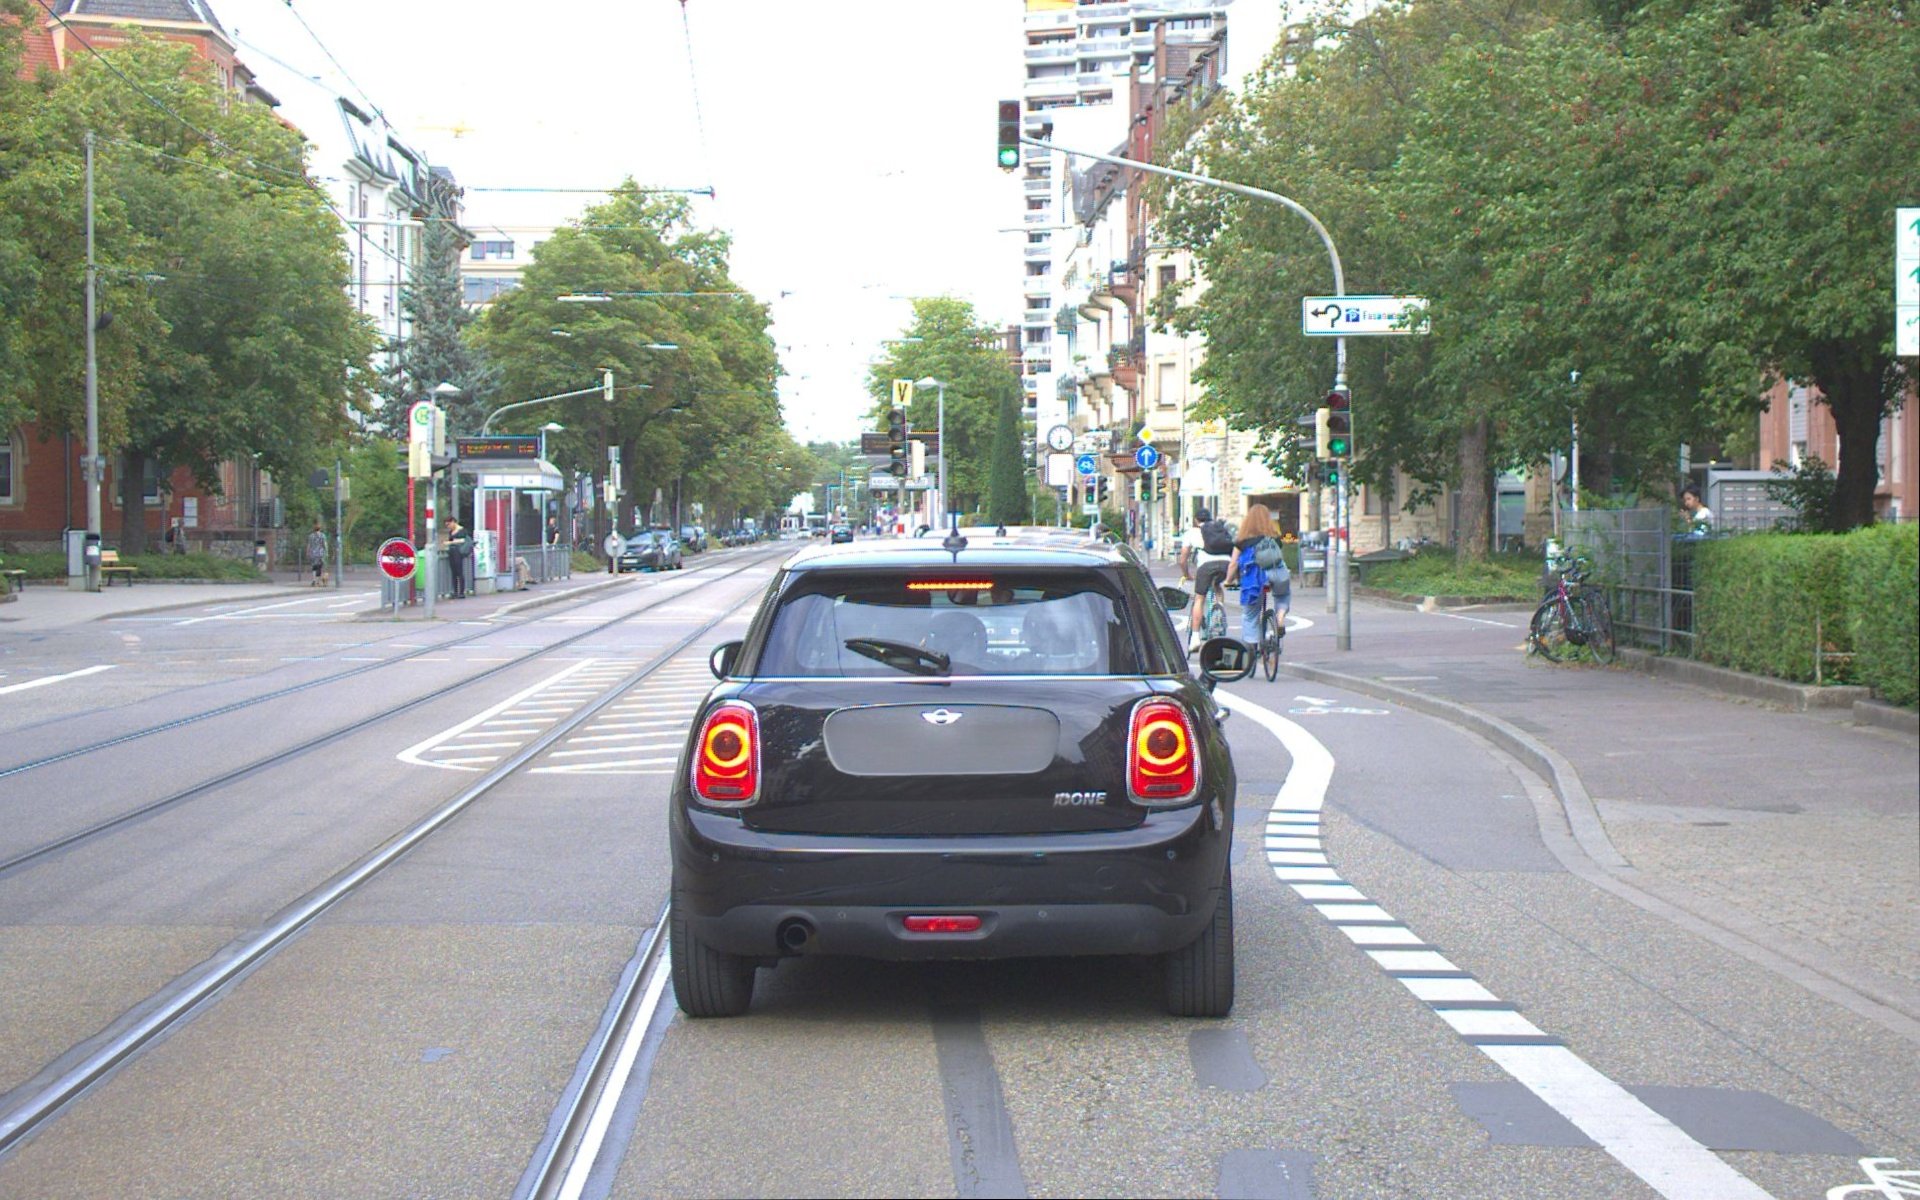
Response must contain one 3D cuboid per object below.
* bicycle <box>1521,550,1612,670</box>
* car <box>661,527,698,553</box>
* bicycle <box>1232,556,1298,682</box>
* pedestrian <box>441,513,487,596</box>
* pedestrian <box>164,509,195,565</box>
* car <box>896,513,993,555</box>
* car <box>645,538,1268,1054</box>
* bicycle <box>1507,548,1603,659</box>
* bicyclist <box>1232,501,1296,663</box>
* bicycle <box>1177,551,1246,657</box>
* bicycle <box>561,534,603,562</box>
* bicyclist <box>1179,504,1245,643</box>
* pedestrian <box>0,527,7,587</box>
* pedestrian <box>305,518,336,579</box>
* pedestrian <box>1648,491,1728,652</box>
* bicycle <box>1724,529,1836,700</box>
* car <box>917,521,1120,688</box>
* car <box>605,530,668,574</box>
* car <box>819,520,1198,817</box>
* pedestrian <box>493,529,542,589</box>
[{"bbox_3d":[5.822,0.082,33.042,0.508,1.085,1.550,-3,1,-1],"label":"bicycle"},{"bbox_3d":[-16.898,-3.614,207.412,1.993,1.546,4.000,0,1,-1],"label":"car"},{"bbox_3d":[2.951,0.173,33.389,0.598,1.166,1.696,0,1,4],"label":"bicycle"},{"bbox_3d":[-9.717,-0.899,67.340,0.851,1.615,0.843,0,1,-7],"label":"pedestrian"},{"bbox_3d":[-23.780,-1.928,104.751,0.832,1.697,0.733,0,1,-7],"label":"pedestrian"},{"bbox_3d":[-0.854,-3.659,190.197,5.025,2.265,2.396,-1,2,-42],"label":"car"},{"bbox_3d":[0.060,0.516,11.675,1.752,1.436,4.000,0,1,2],"label":"car"},{"bbox_3d":[6.179,0.025,35.770,0.671,1.102,1.672,0,1,-1],"label":"bicycle"},{"bbox_3d":[2.948,-0.183,33.370,0.594,1.545,1.013,0,1,4],"label":"bicyclist"},{"bbox_3d":[2.870,0.033,39.361,0.684,1.166,1.697,0,1,1],"label":"bicycle"},{"bbox_3d":[-15.197,-2.092,138.250,1.667,1.115,0.573,-2,2,-40],"label":"bicycle"},{"bbox_3d":[2.870,-0.311,39.290,0.684,1.558,0.998,0,1,1],"label":"bicyclist"},{"bbox_3d":[-27.703,-1.229,98.183,0.832,1.697,0.733,0,1,-7],"label":"pedestrian"},{"bbox_3d":[-18.016,-1.460,96.846,0.694,1.713,0.758,0,1,0],"label":"pedestrian"},{"bbox_3d":[7.994,-0.324,37.781,0.730,1.748,0.949,0,1,3],"label":"pedestrian"},{"bbox_3d":[6.360,0.093,26.721,0.516,1.277,1.550,0,1,1],"label":"bicycle"},{"bbox_3d":[0.539,-0.006,31.866,1.752,1.436,4.480,0,1,1],"label":"car"},{"bbox_3d":[-11.291,-1.692,120.118,1.752,1.436,4.000,2,1,0],"label":"car"},{"bbox_3d":[0.291,0.308,19.478,1.927,1.504,4.000,0,1,1],"label":"car"},{"bbox_3d":[-9.692,-0.906,75.329,1.058,1.289,0.986,0,1,-7],"label":"pedestrian"}]
